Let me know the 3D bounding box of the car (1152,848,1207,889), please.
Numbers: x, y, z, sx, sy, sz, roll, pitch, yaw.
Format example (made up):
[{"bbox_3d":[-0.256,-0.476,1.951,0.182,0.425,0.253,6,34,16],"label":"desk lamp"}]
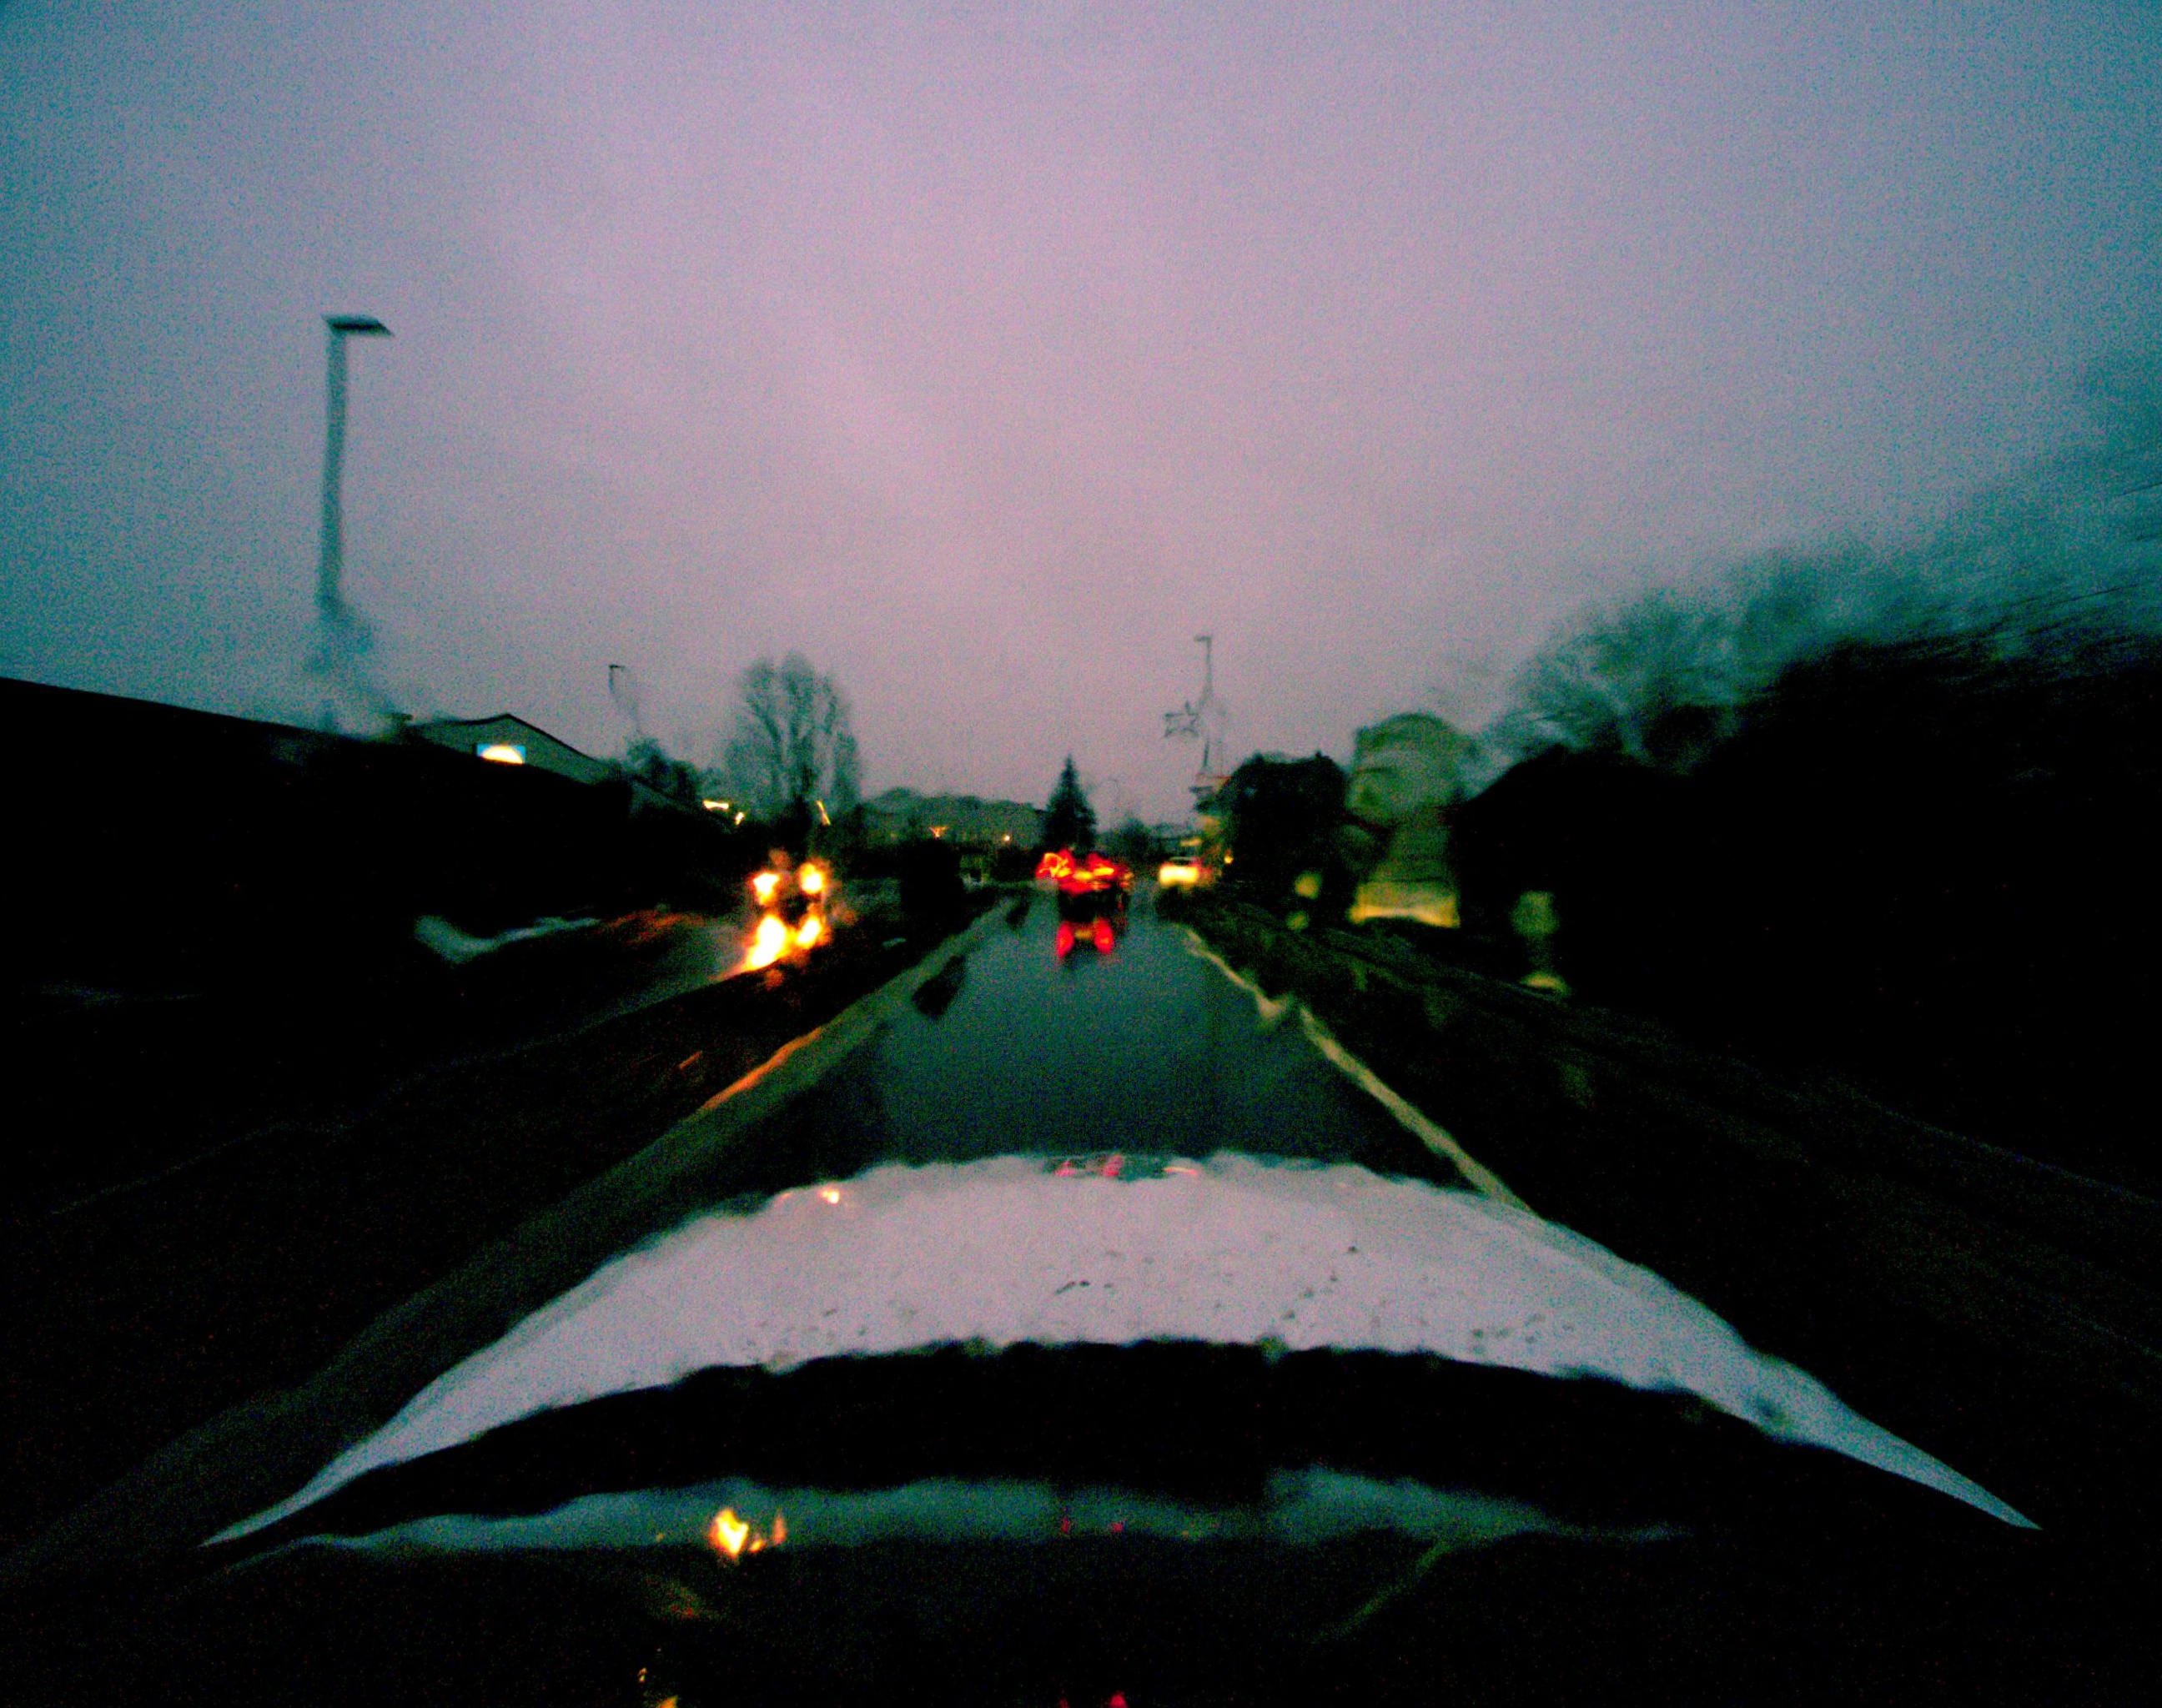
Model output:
[{"bbox_3d":[4.503,0.594,36.638,2.149,1.689,4.586,0,1,11],"label":"car"}]

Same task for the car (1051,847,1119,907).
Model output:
[{"bbox_3d":[0.208,0.692,25.765,1.937,1.718,4.002,1,0,2],"label":"car"}]

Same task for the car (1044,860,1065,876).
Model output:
[{"bbox_3d":[-2.577,1.321,78.162,1.771,1.544,3.991,0,-1,-6],"label":"car"}]

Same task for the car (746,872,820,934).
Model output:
[{"bbox_3d":[-8.139,1.267,22.461,1.610,1.469,3.666,0,0,-15],"label":"car"}]

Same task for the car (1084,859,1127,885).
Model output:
[{"bbox_3d":[1.556,1.195,53.451,1.883,1.615,4.553,0,-2,-11],"label":"car"}]
